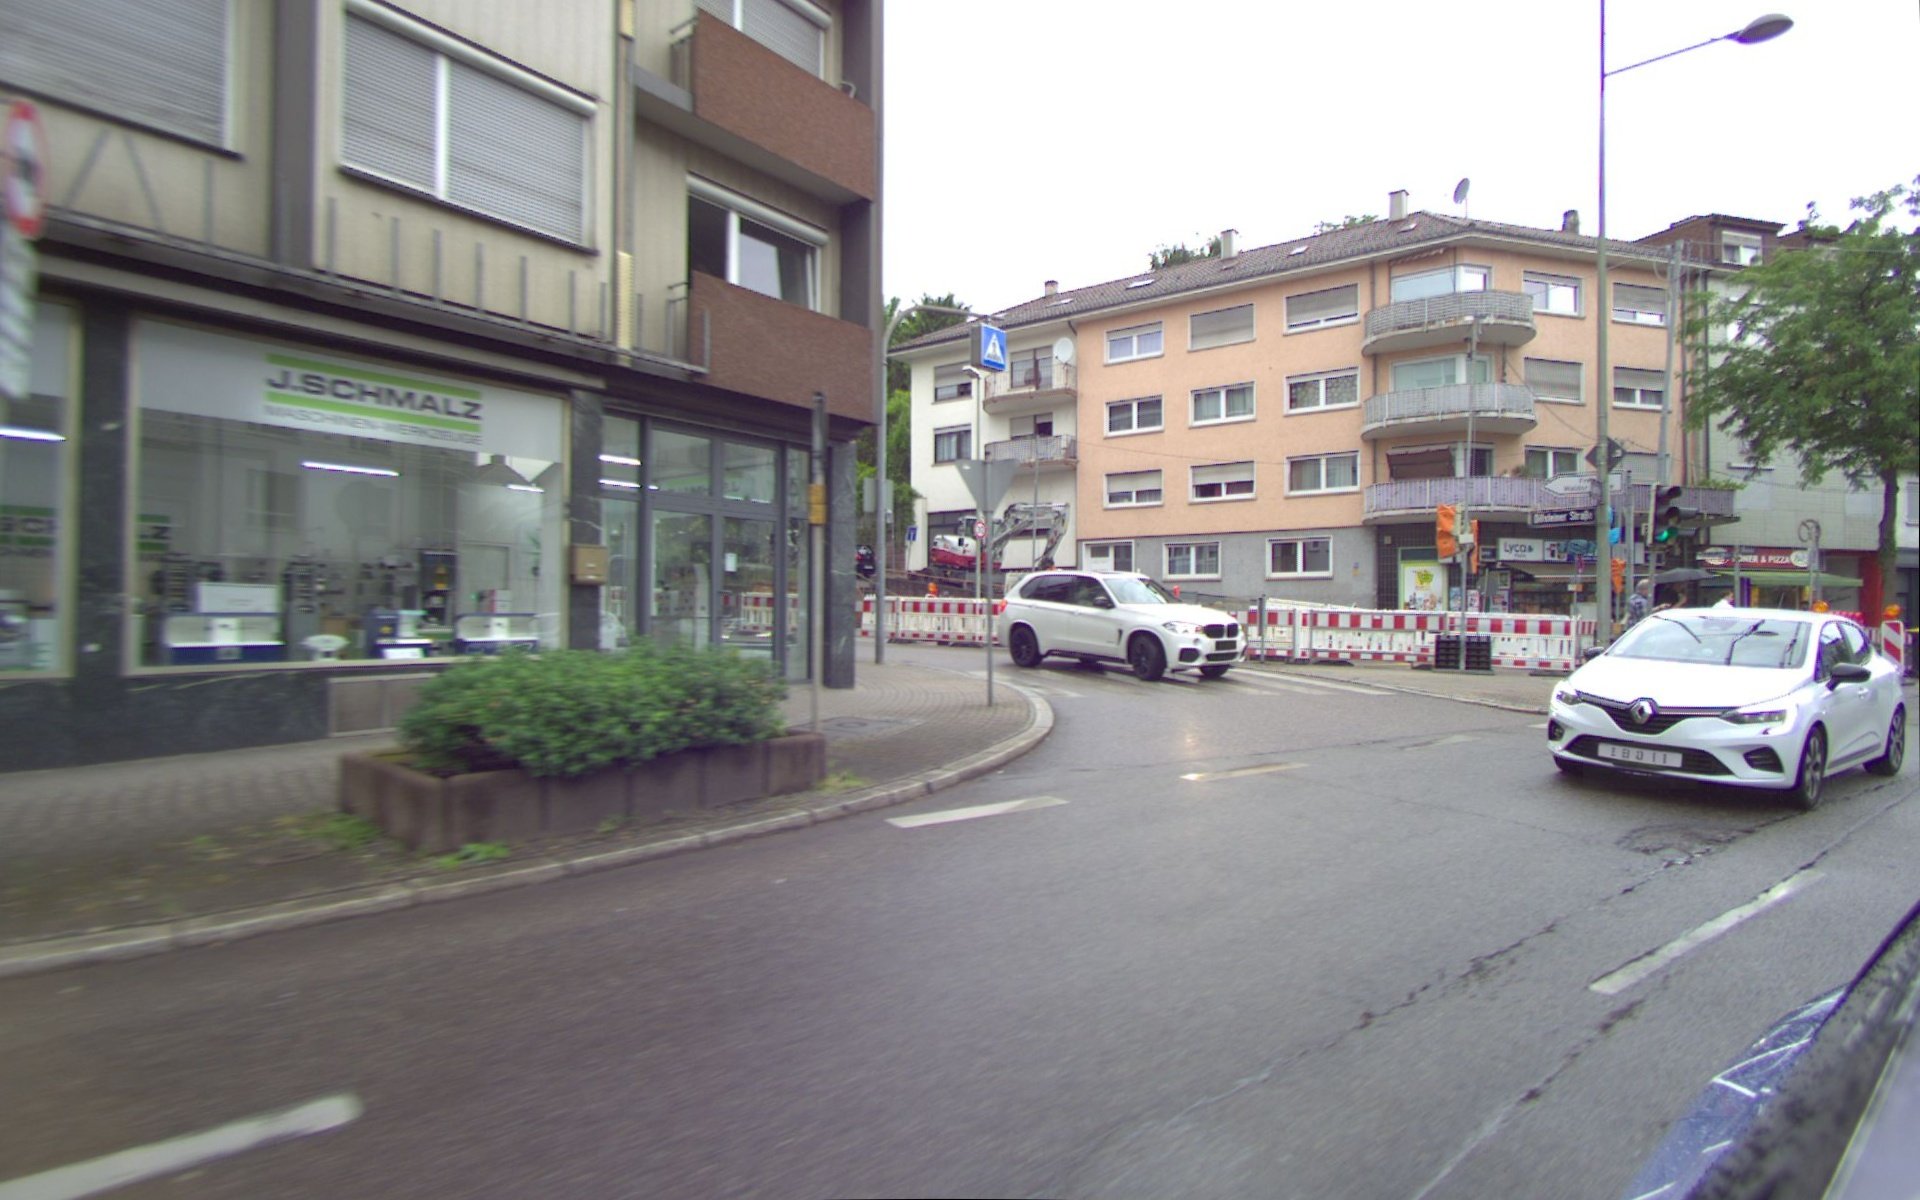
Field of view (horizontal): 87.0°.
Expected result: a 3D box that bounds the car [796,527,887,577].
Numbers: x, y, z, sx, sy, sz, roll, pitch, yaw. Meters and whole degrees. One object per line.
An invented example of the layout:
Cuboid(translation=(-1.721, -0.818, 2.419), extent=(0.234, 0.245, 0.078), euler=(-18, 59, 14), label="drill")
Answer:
Cuboid(translation=(-5.189, -2.099, 44.180), extent=(3.703, 1.745, 1.739), euler=(9, 4, 38), label="car")

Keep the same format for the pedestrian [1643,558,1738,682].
Cuboid(translation=(11.517, 0.294, 15.994), extent=(0.906, 1.884, 1.026), euler=(0, 1, 16), label="pedestrian")

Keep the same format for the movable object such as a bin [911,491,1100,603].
Cuboid(translation=(1.625, -2.042, 38.163), extent=(6.502, 3.681, 2.706), euler=(6, 3, 37), label="movable object such as a bin")

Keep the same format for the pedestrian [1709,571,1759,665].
Cuboid(translation=(16.079, 0.356, 21.040), extent=(0.651, 1.903, 0.984), euler=(0, 0, 27), label="pedestrian")

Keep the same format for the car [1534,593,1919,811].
Cuboid(translation=(6.678, 0.676, 8.607), extent=(3.925, 1.421, 1.681), euler=(0, 1, -37), label="car")

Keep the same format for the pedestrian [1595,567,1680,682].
Cuboid(translation=(10.312, 0.349, 15.433), extent=(0.808, 1.709, 0.792), euler=(0, 1, 10), label="pedestrian")

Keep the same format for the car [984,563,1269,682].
Cuboid(translation=(2.717, 0.269, 17.587), extent=(1.964, 1.742, 4.795), euler=(0, 2, -39), label="car")
